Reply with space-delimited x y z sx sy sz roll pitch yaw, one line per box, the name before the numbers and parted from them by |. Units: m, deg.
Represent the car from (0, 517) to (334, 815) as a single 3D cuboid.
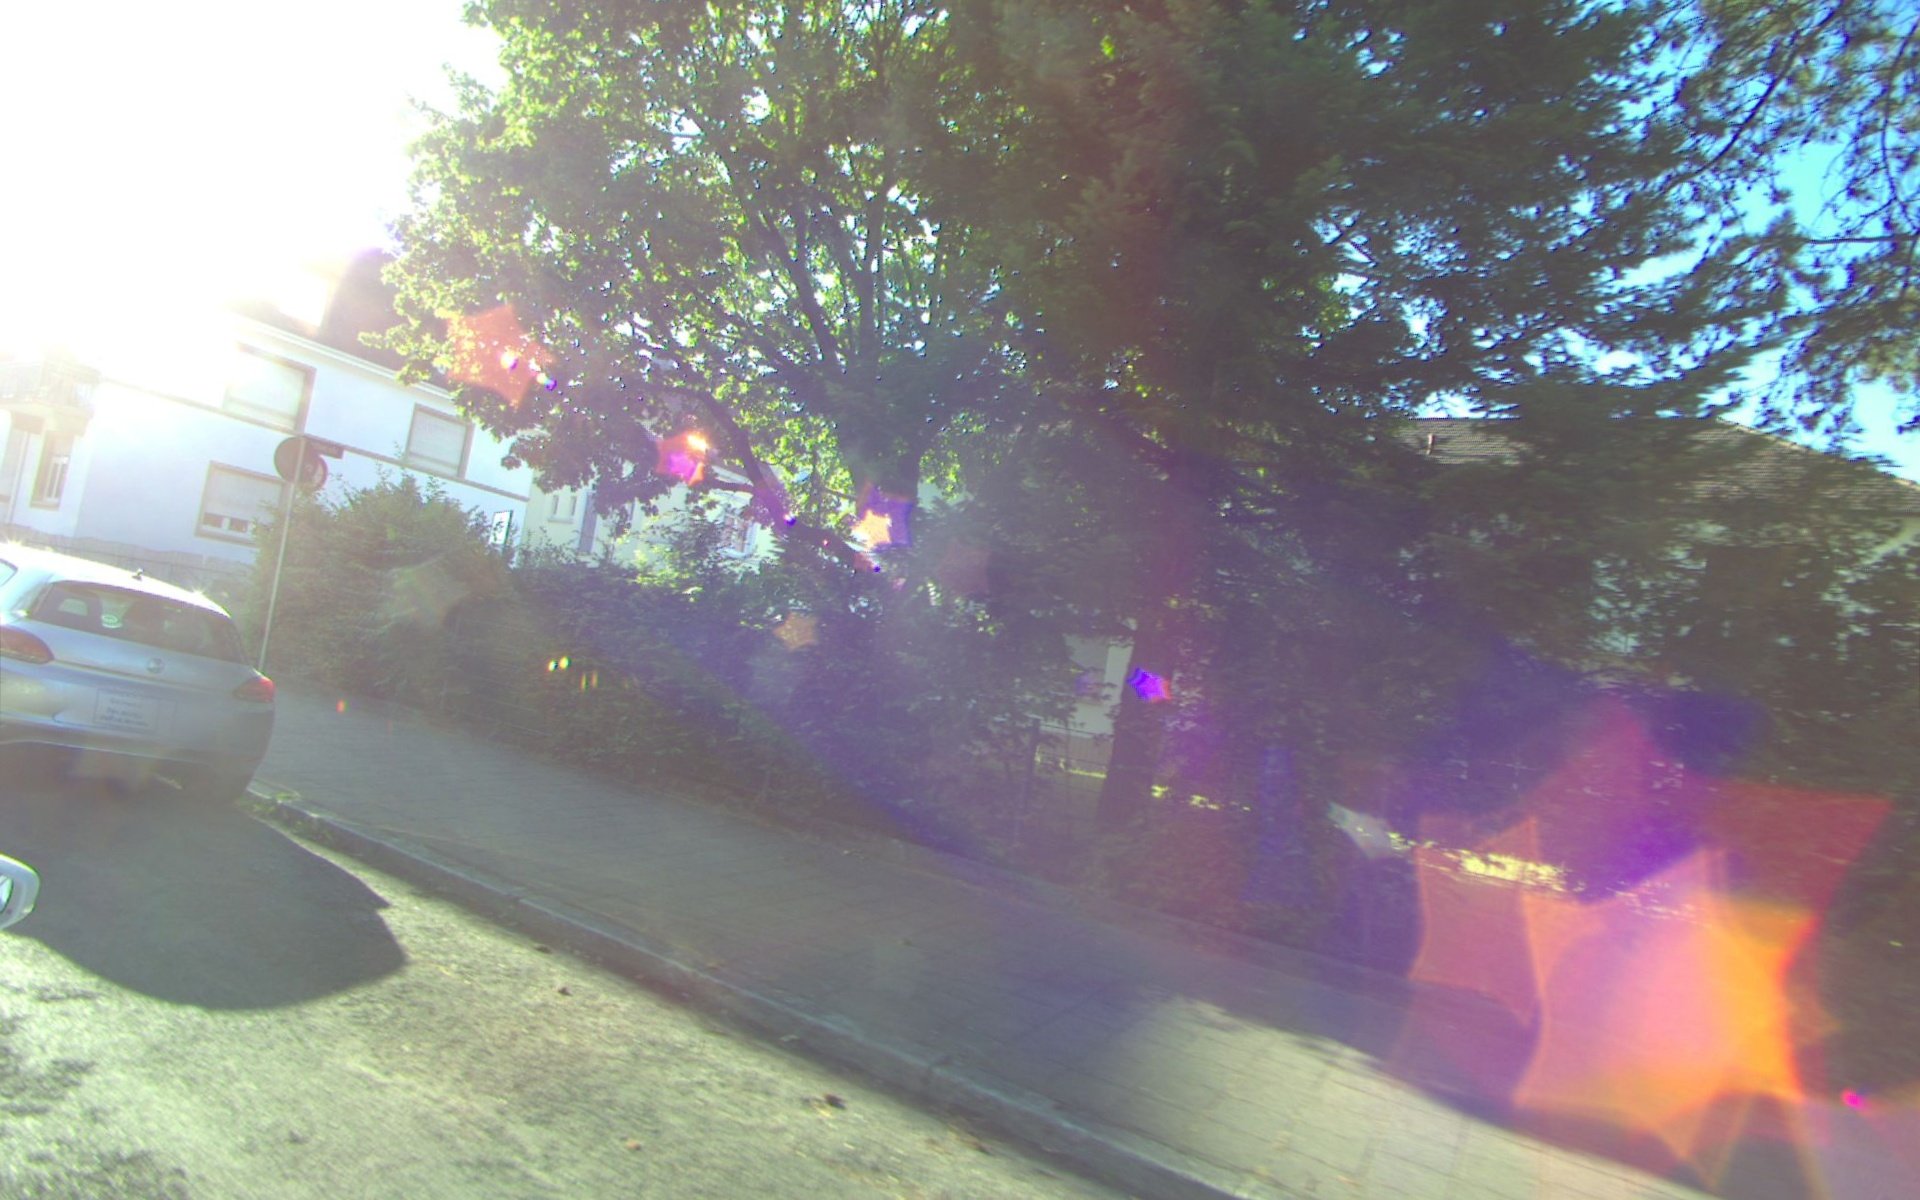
car | -6.495 0.299 7.043 4.005 1.429 1.769 6 -11 32
